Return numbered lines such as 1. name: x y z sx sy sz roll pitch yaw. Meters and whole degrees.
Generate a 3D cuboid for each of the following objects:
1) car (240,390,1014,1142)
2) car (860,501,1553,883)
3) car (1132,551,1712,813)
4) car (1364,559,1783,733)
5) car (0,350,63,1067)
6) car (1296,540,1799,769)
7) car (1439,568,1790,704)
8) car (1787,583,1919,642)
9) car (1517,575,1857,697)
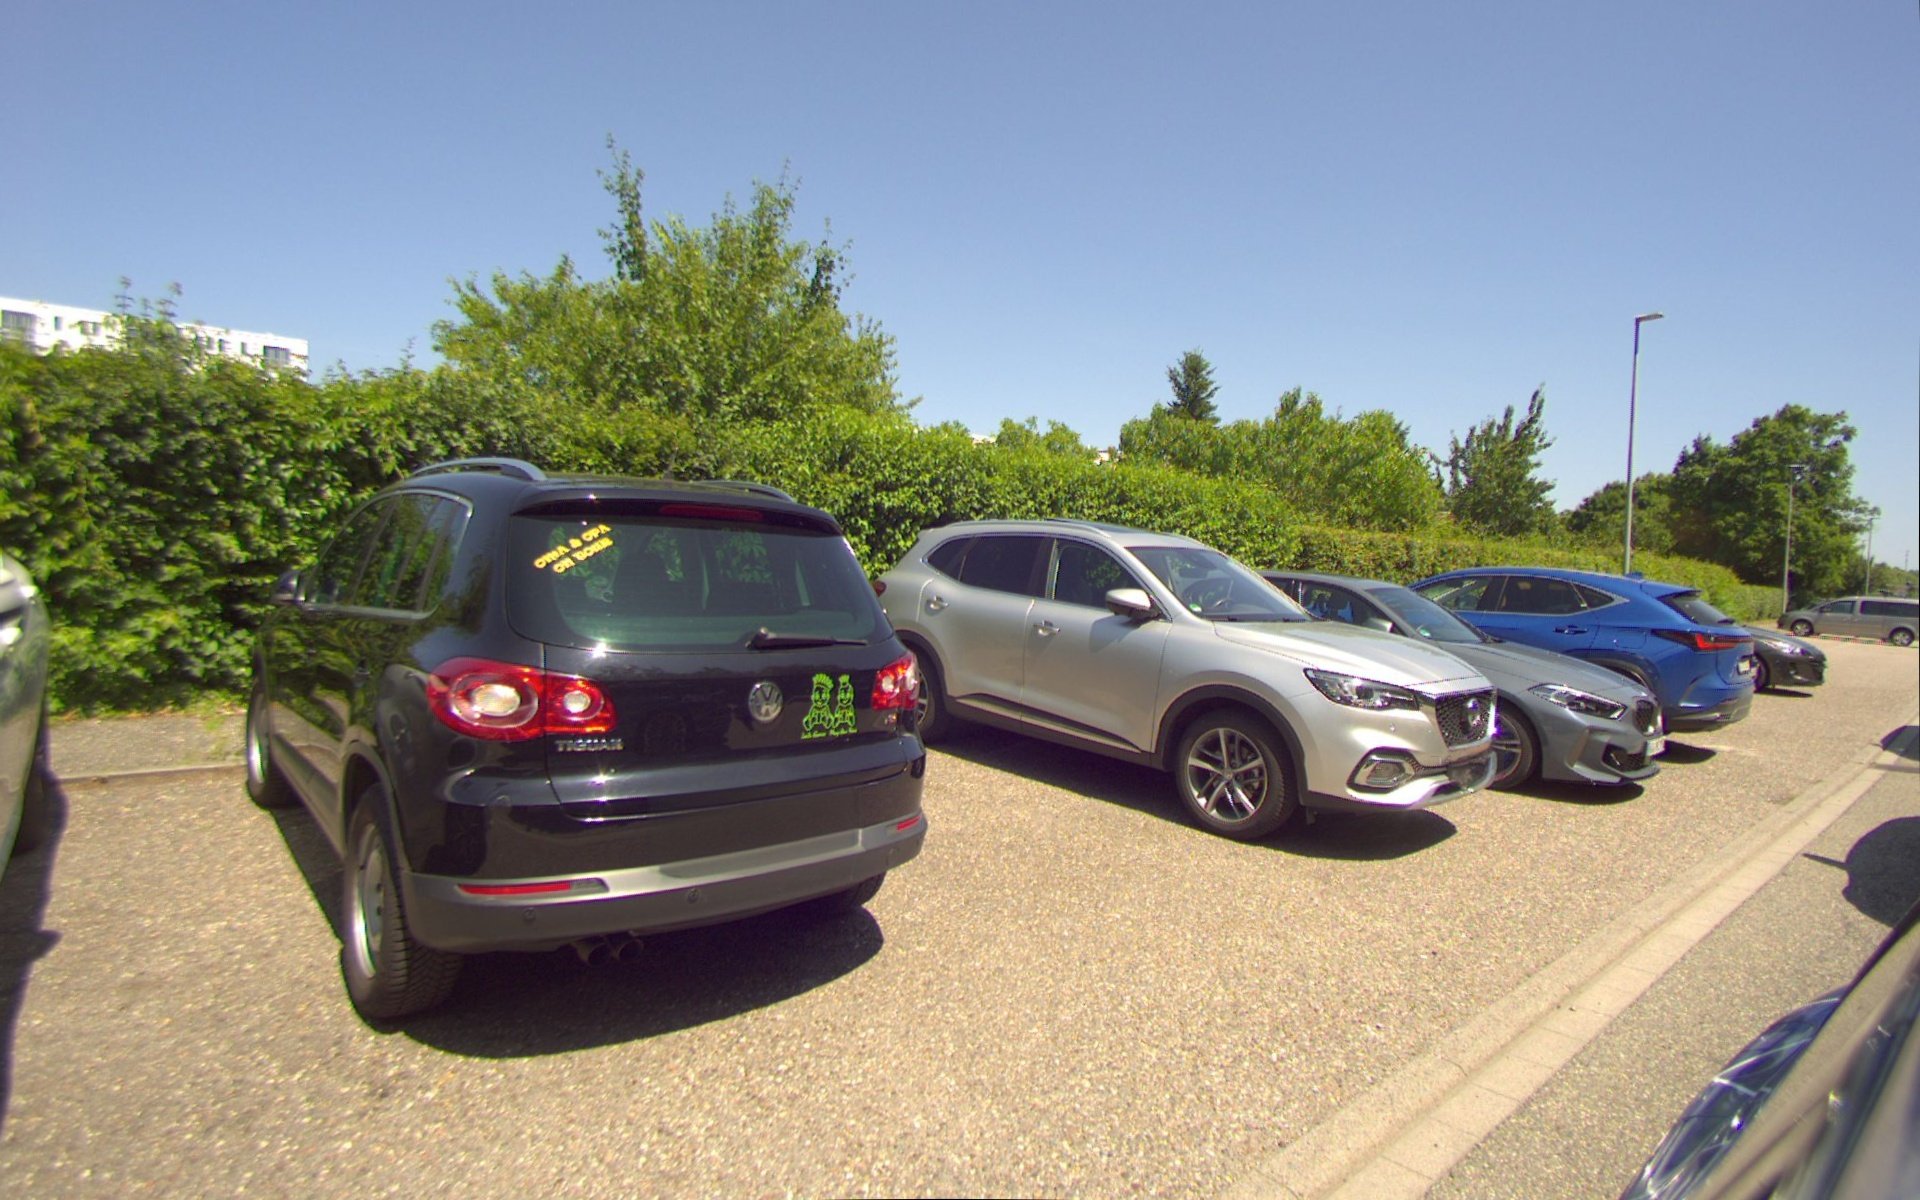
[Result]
1. car: -1.805 0.233 4.360 1.735 1.706 3.982 1 4 -41
2. car: 1.322 0.286 6.795 1.746 1.661 4.167 0 5 -43
3. car: 3.600 0.459 8.503 1.651 1.426 4.035 1 5 -42
4. car: 7.350 0.418 12.477 1.620 1.532 4.037 1 5 -41
5. car: -3.482 0.218 2.428 1.818 1.750 4.466 0 5 -39
6. car: 5.745 0.364 10.343 1.644 1.661 4.037 1 5 -41
7. car: 9.599 0.421 15.118 1.620 1.463 4.037 1 5 -41
8. car: 35.641 0.467 39.864 1.668 1.872 4.486 1 5 -45
9. car: 11.900 0.485 16.825 1.620 1.434 4.252 1 5 -41
